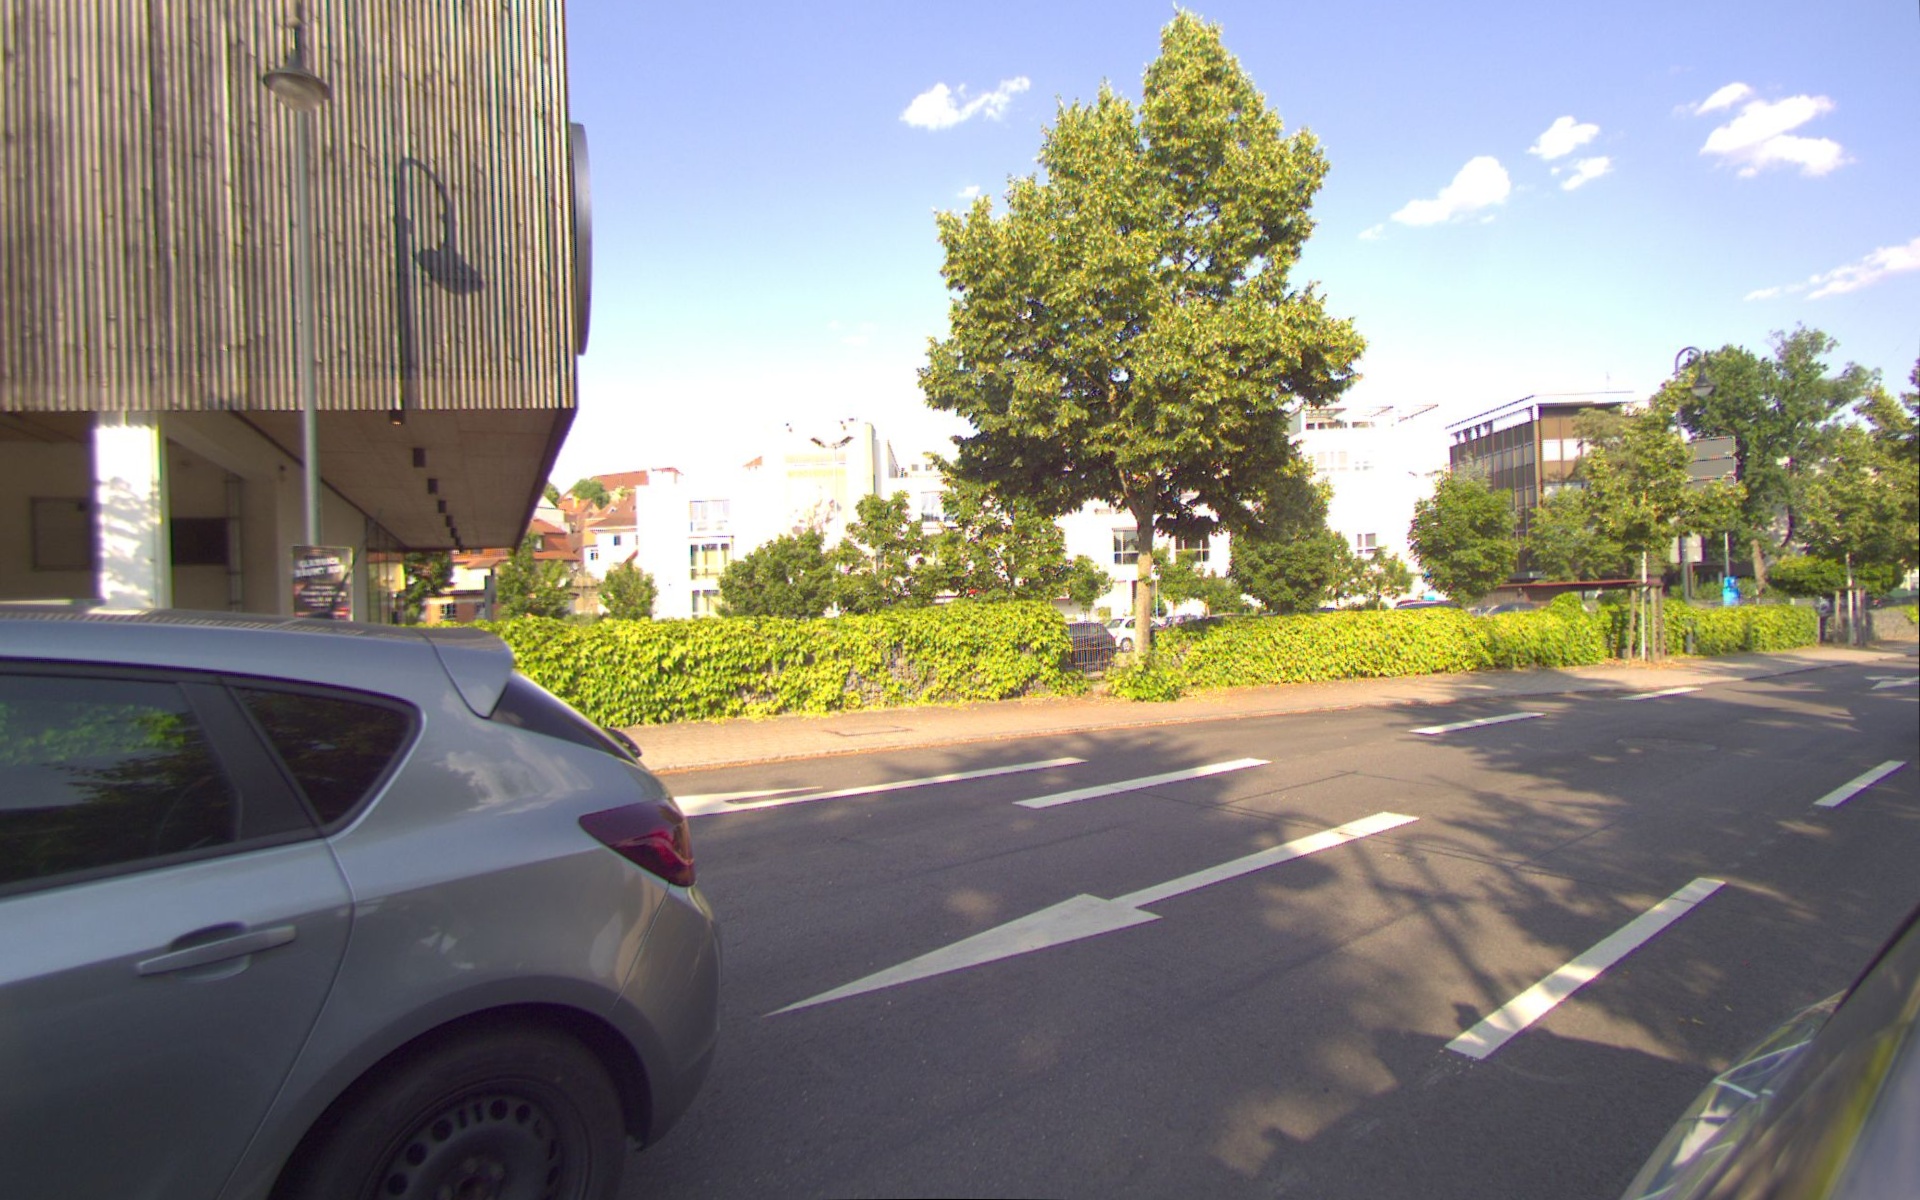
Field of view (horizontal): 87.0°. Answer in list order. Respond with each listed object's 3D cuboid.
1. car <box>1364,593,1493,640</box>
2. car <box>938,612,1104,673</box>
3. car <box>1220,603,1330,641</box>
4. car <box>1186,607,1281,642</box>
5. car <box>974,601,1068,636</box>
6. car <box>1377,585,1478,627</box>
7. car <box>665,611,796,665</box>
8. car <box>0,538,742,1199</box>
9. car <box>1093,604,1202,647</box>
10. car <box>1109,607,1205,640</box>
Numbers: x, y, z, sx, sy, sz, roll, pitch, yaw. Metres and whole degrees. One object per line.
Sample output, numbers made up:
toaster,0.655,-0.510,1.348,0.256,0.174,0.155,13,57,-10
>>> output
car,17.101,0.588,36.896,4.457,1.551,2.001,-1,-2,-30
car,1.793,1.190,29.495,4.457,1.559,2.002,-1,-1,-30
car,13.632,0.935,43.719,4.457,1.462,2.002,-1,-1,-30
car,12.481,1.080,46.160,3.874,1.462,2.002,-1,-1,-30
car,3.173,0.932,52.812,4.452,1.669,2.004,-1,-1,-19
car,22.153,0.263,47.935,4.554,1.878,2.002,-1,-1,-29
car,-7.684,1.229,33.873,3.918,1.649,2.003,-1,0,-26
car,-2.633,0.664,1.515,4.231,1.509,1.724,0,0,-41
car,8.074,1.098,43.660,4.226,1.746,1.897,-1,-3,-24
car,9.701,1.153,49.835,4.457,1.462,1.880,-1,-1,-30
